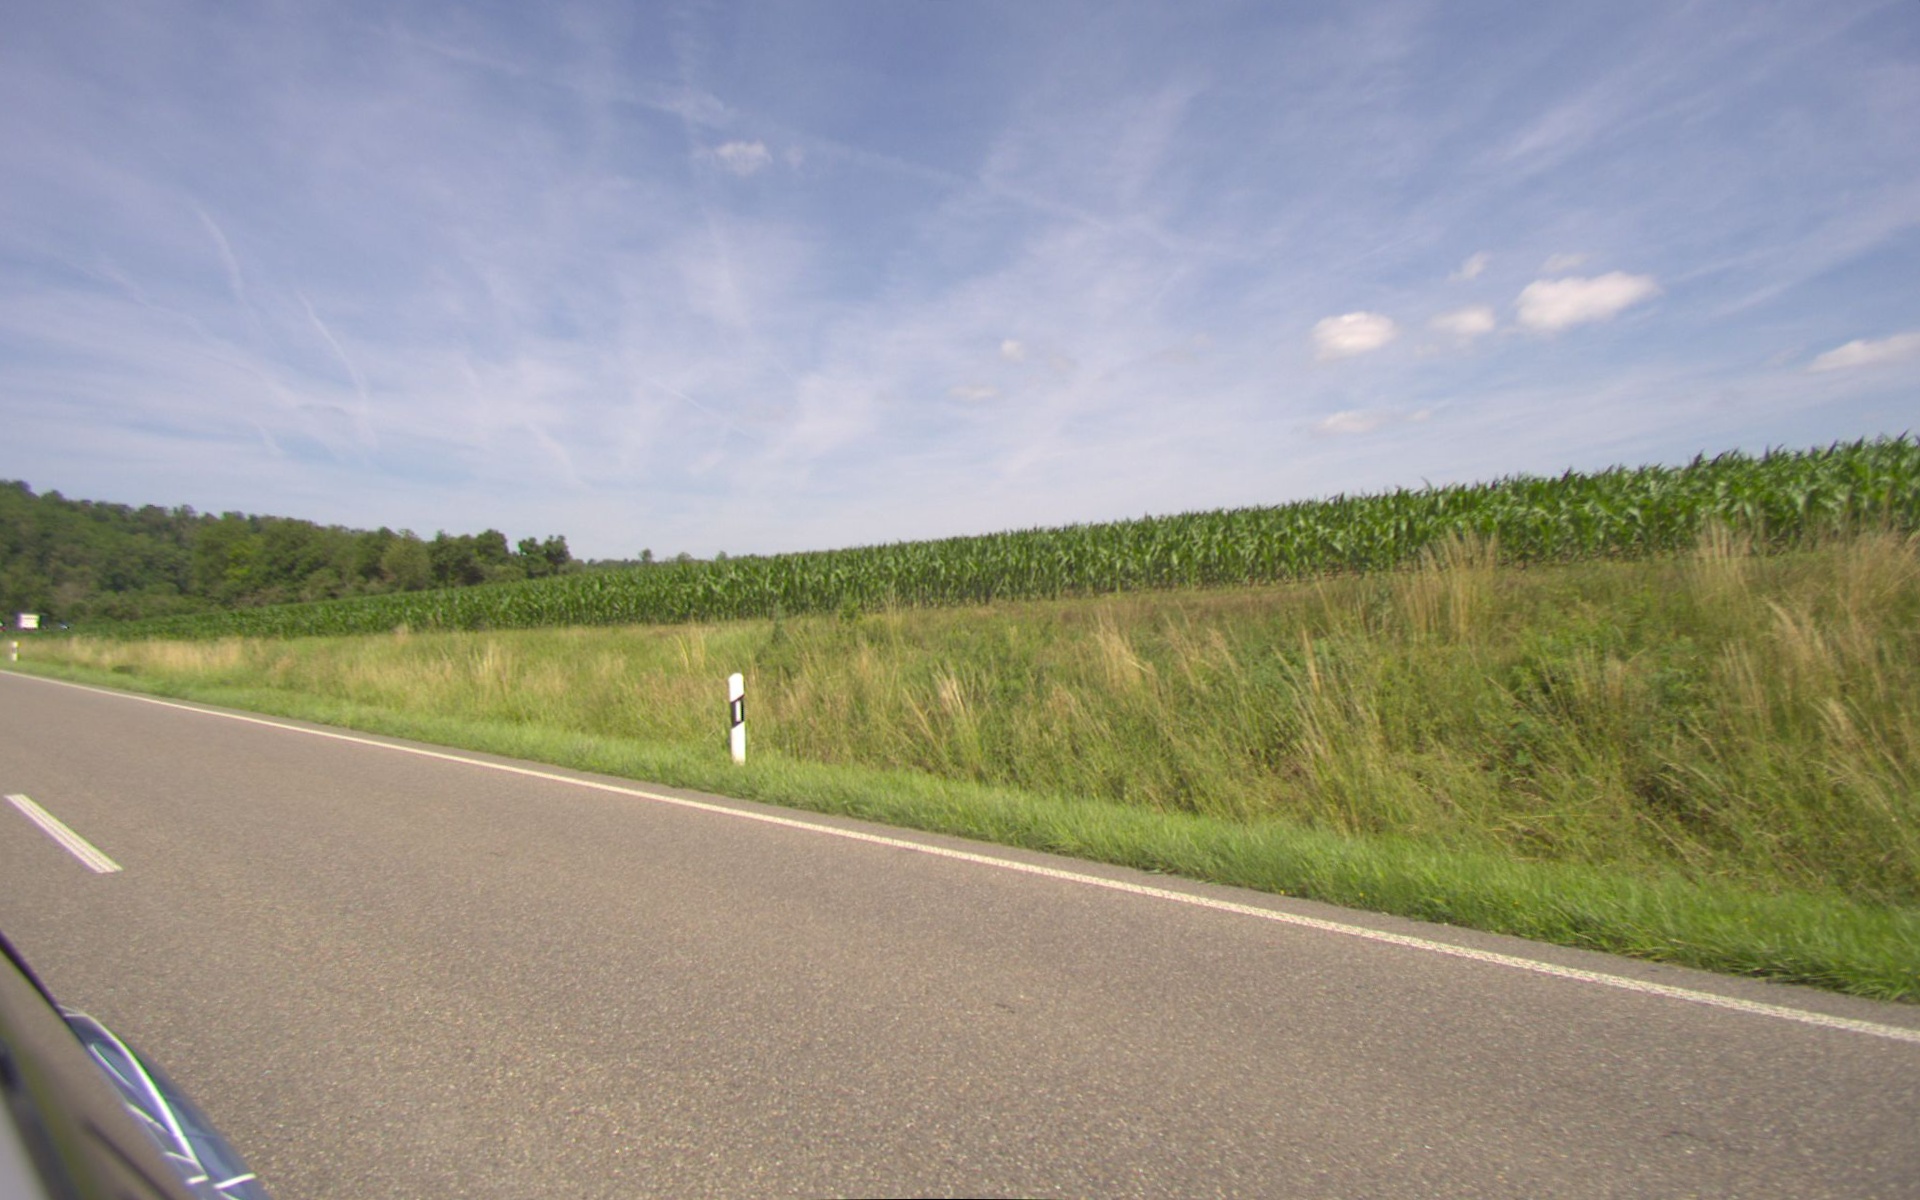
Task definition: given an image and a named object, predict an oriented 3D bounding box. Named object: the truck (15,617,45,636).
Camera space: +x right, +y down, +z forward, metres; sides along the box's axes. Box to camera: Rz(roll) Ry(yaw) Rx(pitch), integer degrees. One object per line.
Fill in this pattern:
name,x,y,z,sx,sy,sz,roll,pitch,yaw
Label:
truck,-178.421,5.044,194.189,2.704,3.606,9.751,1,-2,-34
